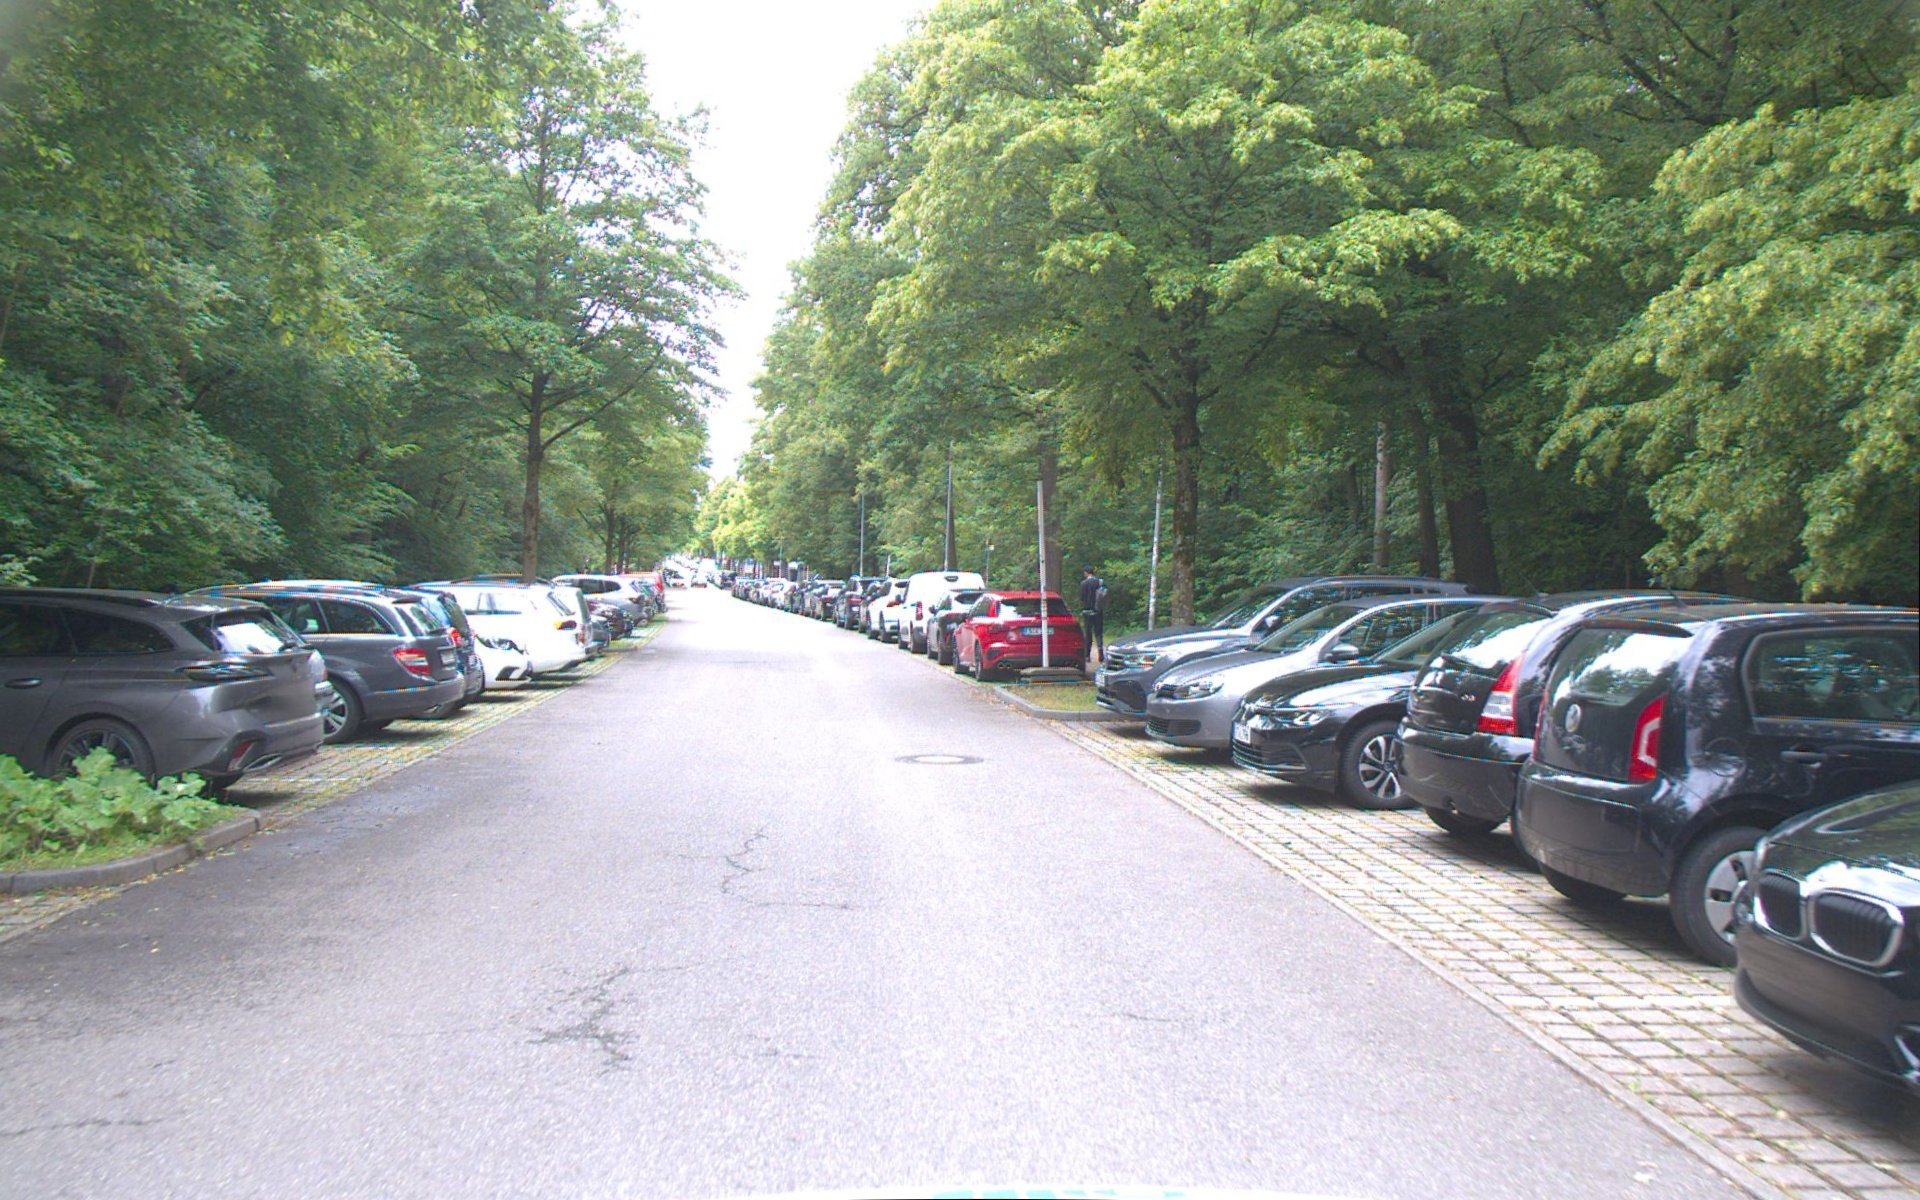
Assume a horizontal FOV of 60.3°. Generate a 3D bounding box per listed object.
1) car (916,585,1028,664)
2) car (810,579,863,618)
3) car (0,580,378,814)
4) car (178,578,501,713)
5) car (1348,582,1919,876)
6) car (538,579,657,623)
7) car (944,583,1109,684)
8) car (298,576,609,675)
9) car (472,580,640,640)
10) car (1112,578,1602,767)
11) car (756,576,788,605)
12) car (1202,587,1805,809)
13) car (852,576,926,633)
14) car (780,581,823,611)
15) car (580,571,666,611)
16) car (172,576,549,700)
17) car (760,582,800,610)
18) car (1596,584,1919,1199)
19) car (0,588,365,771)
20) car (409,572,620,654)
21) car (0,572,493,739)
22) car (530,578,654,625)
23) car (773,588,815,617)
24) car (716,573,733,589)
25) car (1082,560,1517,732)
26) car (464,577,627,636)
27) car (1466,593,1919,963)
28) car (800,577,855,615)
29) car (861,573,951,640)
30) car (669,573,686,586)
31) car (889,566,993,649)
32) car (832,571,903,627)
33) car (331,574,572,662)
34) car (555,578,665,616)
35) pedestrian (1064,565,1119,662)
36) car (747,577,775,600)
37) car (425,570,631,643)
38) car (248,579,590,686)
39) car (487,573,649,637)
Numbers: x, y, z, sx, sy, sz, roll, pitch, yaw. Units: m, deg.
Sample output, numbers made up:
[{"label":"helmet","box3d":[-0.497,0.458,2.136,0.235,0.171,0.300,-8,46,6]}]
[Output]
[{"label":"car","box3d":[0.171,0.442,33.274,1.693,1.447,4.277,1,1,-7]},{"label":"car","box3d":[-5.004,-0.079,66.645,1.608,1.503,4.139,1,1,-12]},{"label":"car","box3d":[-6.496,0.596,11.321,4.317,1.449,2.034,1,1,-4]},{"label":"car","box3d":[-7.031,0.498,19.020,3.158,1.469,1.677,1,0,-8]},{"label":"car","box3d":[4.435,0.677,9.900,3.752,1.558,1.849,0,1,-5]},{"label":"car","box3d":[-12.760,0.030,58.413,4.036,1.506,1.992,0,1,-11]},{"label":"car","box3d":[1.003,0.487,27.810,1.956,1.505,4.964,1,1,-7]},{"label":"car","box3d":[-7.971,0.395,26.413,4.476,1.512,1.867,0,1,-8]},{"label":"car","box3d":[-10.013,0.231,41.227,3.914,1.388,1.783,1,0,-10]},{"label":"car","box3d":[3.563,0.625,15.207,3.915,1.578,1.971,1,1,-11]},{"label":"car","box3d":[-11.516,-0.594,101.274,1.679,1.758,3.991,1,1,-10]},{"label":"car","box3d":[3.986,0.694,12.595,3.908,1.501,1.951,1,1,-4]},{"label":"car","box3d":[-2.218,0.114,50.571,1.719,1.635,4.436,1,1,-10]},{"label":"car","box3d":[-7.965,-0.218,82.893,1.637,1.469,3.802,1,1,-13]},{"label":"car","box3d":[-15.896,-0.416,78.060,3.918,1.848,2.108,0,0,-13]},{"label":"car","box3d":[-7.593,0.467,21.374,4.286,1.512,1.887,0,0,-10]},{"label":"car","box3d":[-10.405,-0.256,95.463,1.693,1.520,3.759,1,1,-15]},{"label":"car","box3d":[4.345,0.773,4.996,4.105,1.538,1.891,1,1,-5]},{"label":"car","box3d":[-7.153,0.622,13.877,3.681,1.411,1.755,1,1,-3]},{"label":"car","box3d":[-8.970,0.247,33.615,3.960,1.582,1.915,1,1,-10]},{"label":"car","box3d":[-6.967,0.506,16.314,4.181,1.512,2.056,1,1,-4]},{"label":"car","box3d":[-12.433,0.040,56.036,4.018,1.550,1.923,0,1,-13]},{"label":"car","box3d":[-9.018,0.116,89.763,1.902,1.501,3.981,1,1,-11]},{"label":"car","box3d":[-24.773,-1.970,174.200,1.599,1.440,3.403,2,3,-11]},{"label":"car","box3d":[3.551,0.462,17.791,4.183,1.695,1.956,1,1,-6]},{"label":"car","box3d":[-10.861,0.163,43.544,3.946,1.490,1.796,1,1,-7]},{"label":"car","box3d":[4.507,0.716,7.662,3.751,1.482,1.807,0,0,-3]},{"label":"car","box3d":[-5.845,-0.216,72.426,1.942,1.564,4.610,1,1,-10]},{"label":"car","box3d":[-1.518,0.128,44.761,1.753,1.691,4.706,1,1,-11]},{"label":"car","box3d":[-29.152,-2.117,170.726,1.707,1.182,3.405,2,3,-8]},{"label":"car","box3d":[-0.509,0.134,38.645,1.712,1.811,4.542,1,1,-10]},{"label":"car","box3d":[-3.202,-0.069,56.200,1.855,1.777,4.937,1,1,-10]},{"label":"car","box3d":[-9.409,0.329,30.925,4.161,1.577,1.841,1,1,-13]},{"label":"car","box3d":[-13.925,-0.126,65.739,4.224,1.474,1.750,0,1,-15]},{"label":"pedestrian","box3d":[2.450,0.244,30.985,0.802,1.756,1.002,1,0,-8]},{"label":"car","box3d":[-13.623,-0.780,113.179,1.679,1.535,3.991,1,1,-10]},{"label":"car","box3d":[-9.975,0.147,38.519,4.431,1.612,1.923,1,1,-9]},{"label":"car","box3d":[-7.728,0.442,24.082,4.481,1.472,2.080,0,1,-11]},{"label":"car","box3d":[-10.817,0.126,45.911,4.146,1.661,2.025,1,0,-9]}]
